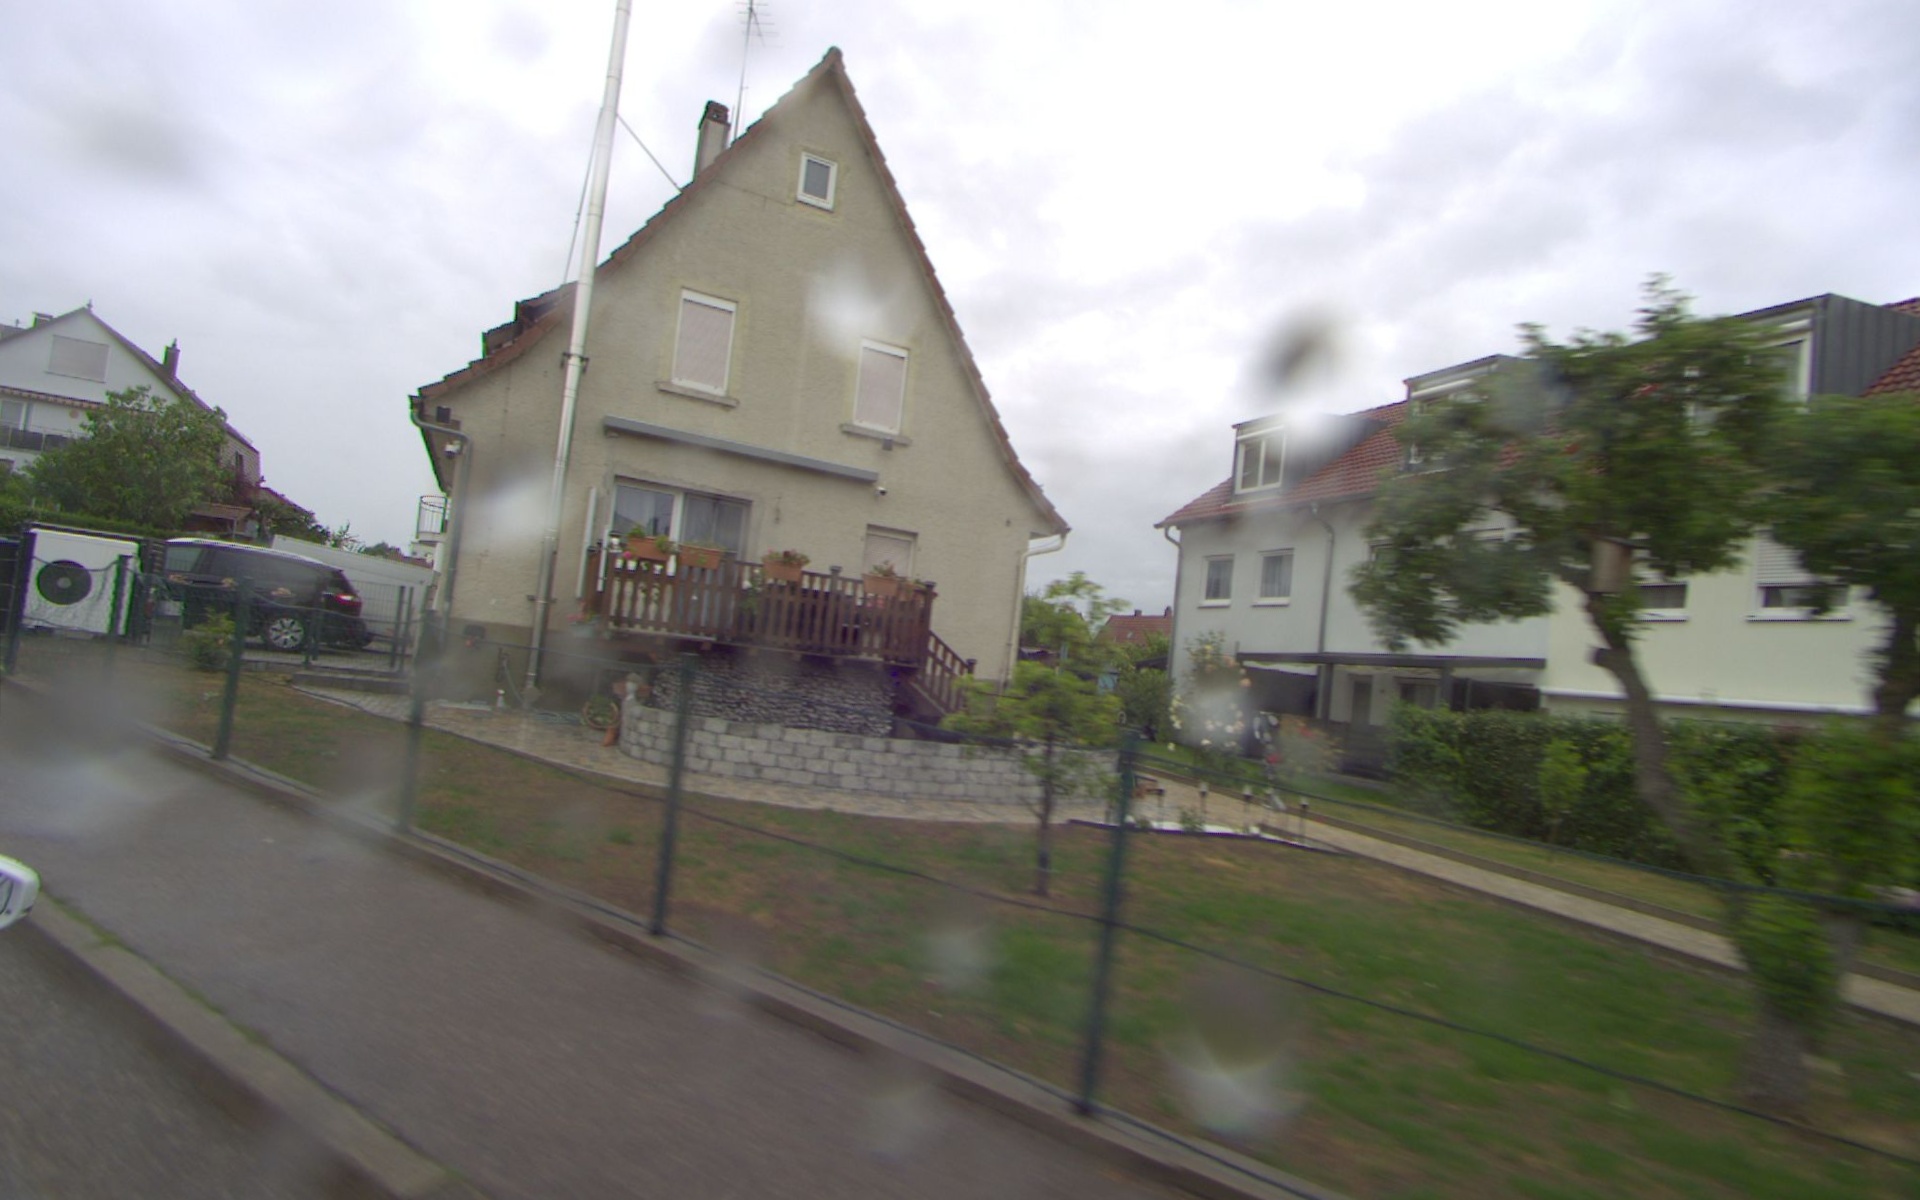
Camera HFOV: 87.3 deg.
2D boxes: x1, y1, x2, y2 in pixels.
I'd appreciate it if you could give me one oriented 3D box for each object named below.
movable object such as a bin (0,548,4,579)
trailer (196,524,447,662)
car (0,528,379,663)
[{"bbox_3d":[-10.993,-0.086,11.174,0.441,1.033,0.518,7,-1,-43],"label":"movable object such as a bin"},{"bbox_3d":[-11.629,-0.070,18.618,3.421,1.816,1.681,11,-5,-22],"label":"trailer"},{"bbox_3d":[-11.664,-0.020,15.299,4.540,1.400,1.977,8,-1,-41],"label":"car"}]
